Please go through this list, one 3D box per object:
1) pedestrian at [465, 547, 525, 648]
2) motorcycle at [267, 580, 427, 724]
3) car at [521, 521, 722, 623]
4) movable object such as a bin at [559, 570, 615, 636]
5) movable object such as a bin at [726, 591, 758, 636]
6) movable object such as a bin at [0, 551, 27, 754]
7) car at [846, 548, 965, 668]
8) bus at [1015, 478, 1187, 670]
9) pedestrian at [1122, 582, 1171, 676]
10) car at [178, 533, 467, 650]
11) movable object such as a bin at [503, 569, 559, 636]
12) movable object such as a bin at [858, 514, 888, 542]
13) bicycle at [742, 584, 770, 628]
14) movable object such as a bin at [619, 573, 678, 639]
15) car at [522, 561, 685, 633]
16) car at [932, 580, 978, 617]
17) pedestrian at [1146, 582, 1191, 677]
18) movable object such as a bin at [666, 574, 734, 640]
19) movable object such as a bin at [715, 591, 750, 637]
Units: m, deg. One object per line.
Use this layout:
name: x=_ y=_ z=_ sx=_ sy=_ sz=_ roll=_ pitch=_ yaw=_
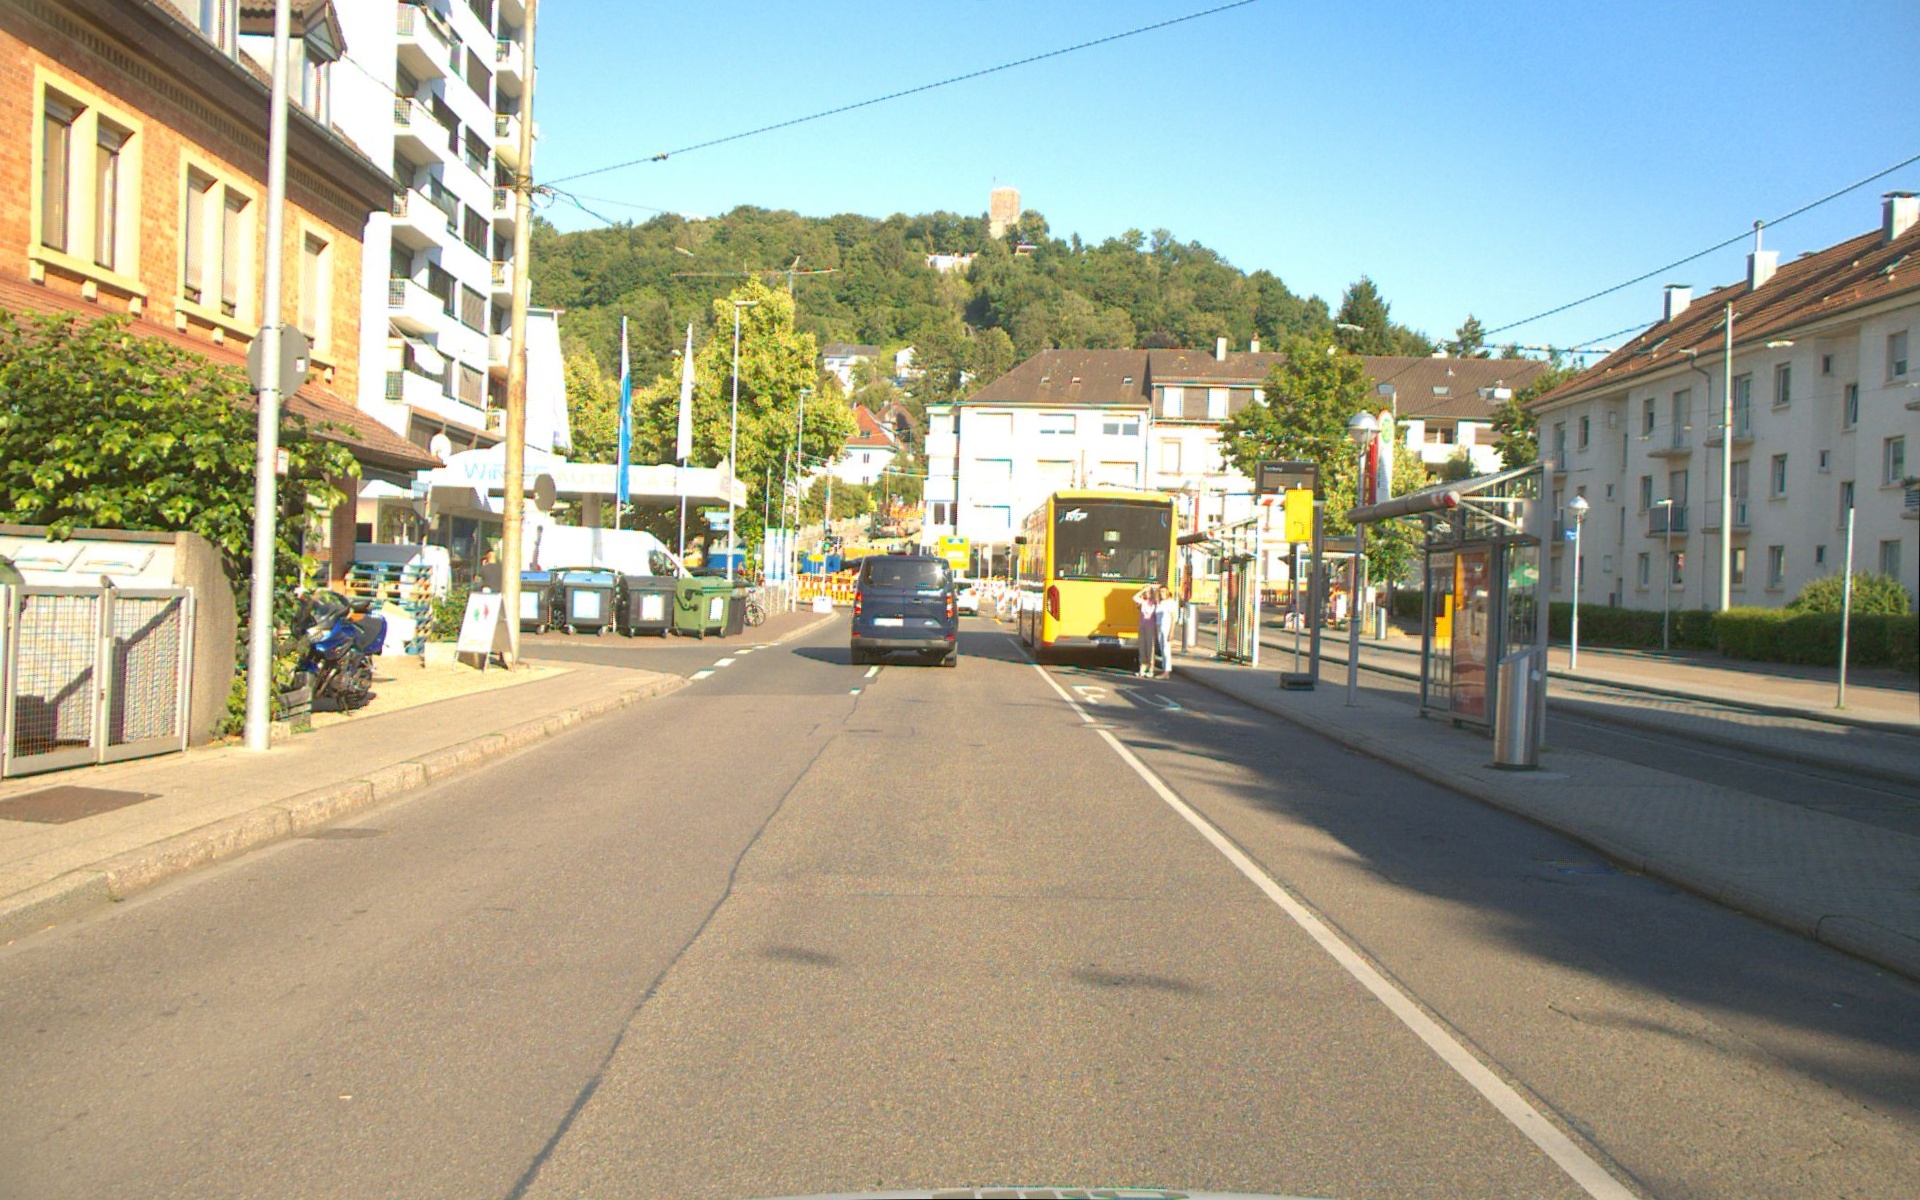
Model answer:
pedestrian: x=-8.918 y=-0.051 z=31.747 sx=0.800 sy=1.900 sz=0.796 roll=2 pitch=1 yaw=8
motorcycle: x=-6.058 y=0.474 z=16.495 sx=0.822 sy=1.304 sz=2.231 roll=2 pitch=0 yaw=-3
car: x=-9.205 y=-0.747 z=44.969 sx=4.985 sy=2.512 sz=2.095 roll=2 pitch=0 yaw=-23
movable object such as a bin: x=-8.844 y=0.066 z=39.262 sx=1.194 sy=1.508 sz=0.704 roll=1 pitch=3 yaw=-5
movable object such as a bin: x=-5.547 y=0.342 z=42.039 sx=0.626 sy=1.088 sz=0.581 roll=2 pitch=4 yaw=12
movable object such as a bin: x=-7.484 y=0.359 z=11.621 sx=1.281 sy=1.454 sz=0.991 roll=1 pitch=0 yaw=-4
car: x=-0.978 y=0.121 z=31.572 sx=2.020 sy=2.049 sz=4.999 roll=2 pitch=0 yaw=-1
bus: x=2.823 y=-0.586 z=36.680 sx=2.633 sy=3.475 sz=12.018 roll=2 pitch=1 yaw=0
pedestrian: x=3.318 y=0.516 z=29.417 sx=0.540 sy=1.641 sz=0.627 roll=1 pitch=0 yaw=-38
car: x=-11.693 y=-0.161 z=30.584 sx=4.522 sy=1.967 sz=1.999 roll=1 pitch=0 yaw=-3
movable object such as a bin: x=-10.140 y=0.044 z=39.117 sx=1.155 sy=1.508 sz=0.704 roll=1 pitch=3 yaw=-5
movable object such as a bin: x=-9.055 y=-7.480 z=172.753 sx=2.144 sy=2.737 sz=4.004 roll=2 pitch=1 yaw=11
bicycle: x=-5.851 y=0.163 z=47.382 sx=0.710 sy=1.198 sz=1.777 roll=2 pitch=0 yaw=-9
movable object such as a bin: x=-7.427 y=0.135 z=39.417 sx=1.205 sy=1.508 sz=0.697 roll=0 pitch=4 yaw=-30
car: x=-9.064 y=-0.081 z=42.032 sx=3.921 sy=1.595 sz=1.766 roll=3 pitch=1 yaw=-15
car: x=-0.170 y=-0.072 z=65.636 sx=1.757 sy=1.434 sz=4.000 roll=0 pitch=0 yaw=1
pedestrian: x=3.669 y=0.518 z=29.111 sx=0.540 sy=1.641 sz=0.542 roll=1 pitch=0 yaw=-38
movable object such as a bin: x=-6.355 y=0.158 z=40.492 sx=1.035 sy=1.508 sz=1.311 roll=4 pitch=4 yaw=28
movable object such as a bin: x=-5.697 y=0.350 z=41.427 sx=0.646 sy=1.080 sz=0.585 roll=4 pitch=3 yaw=12
